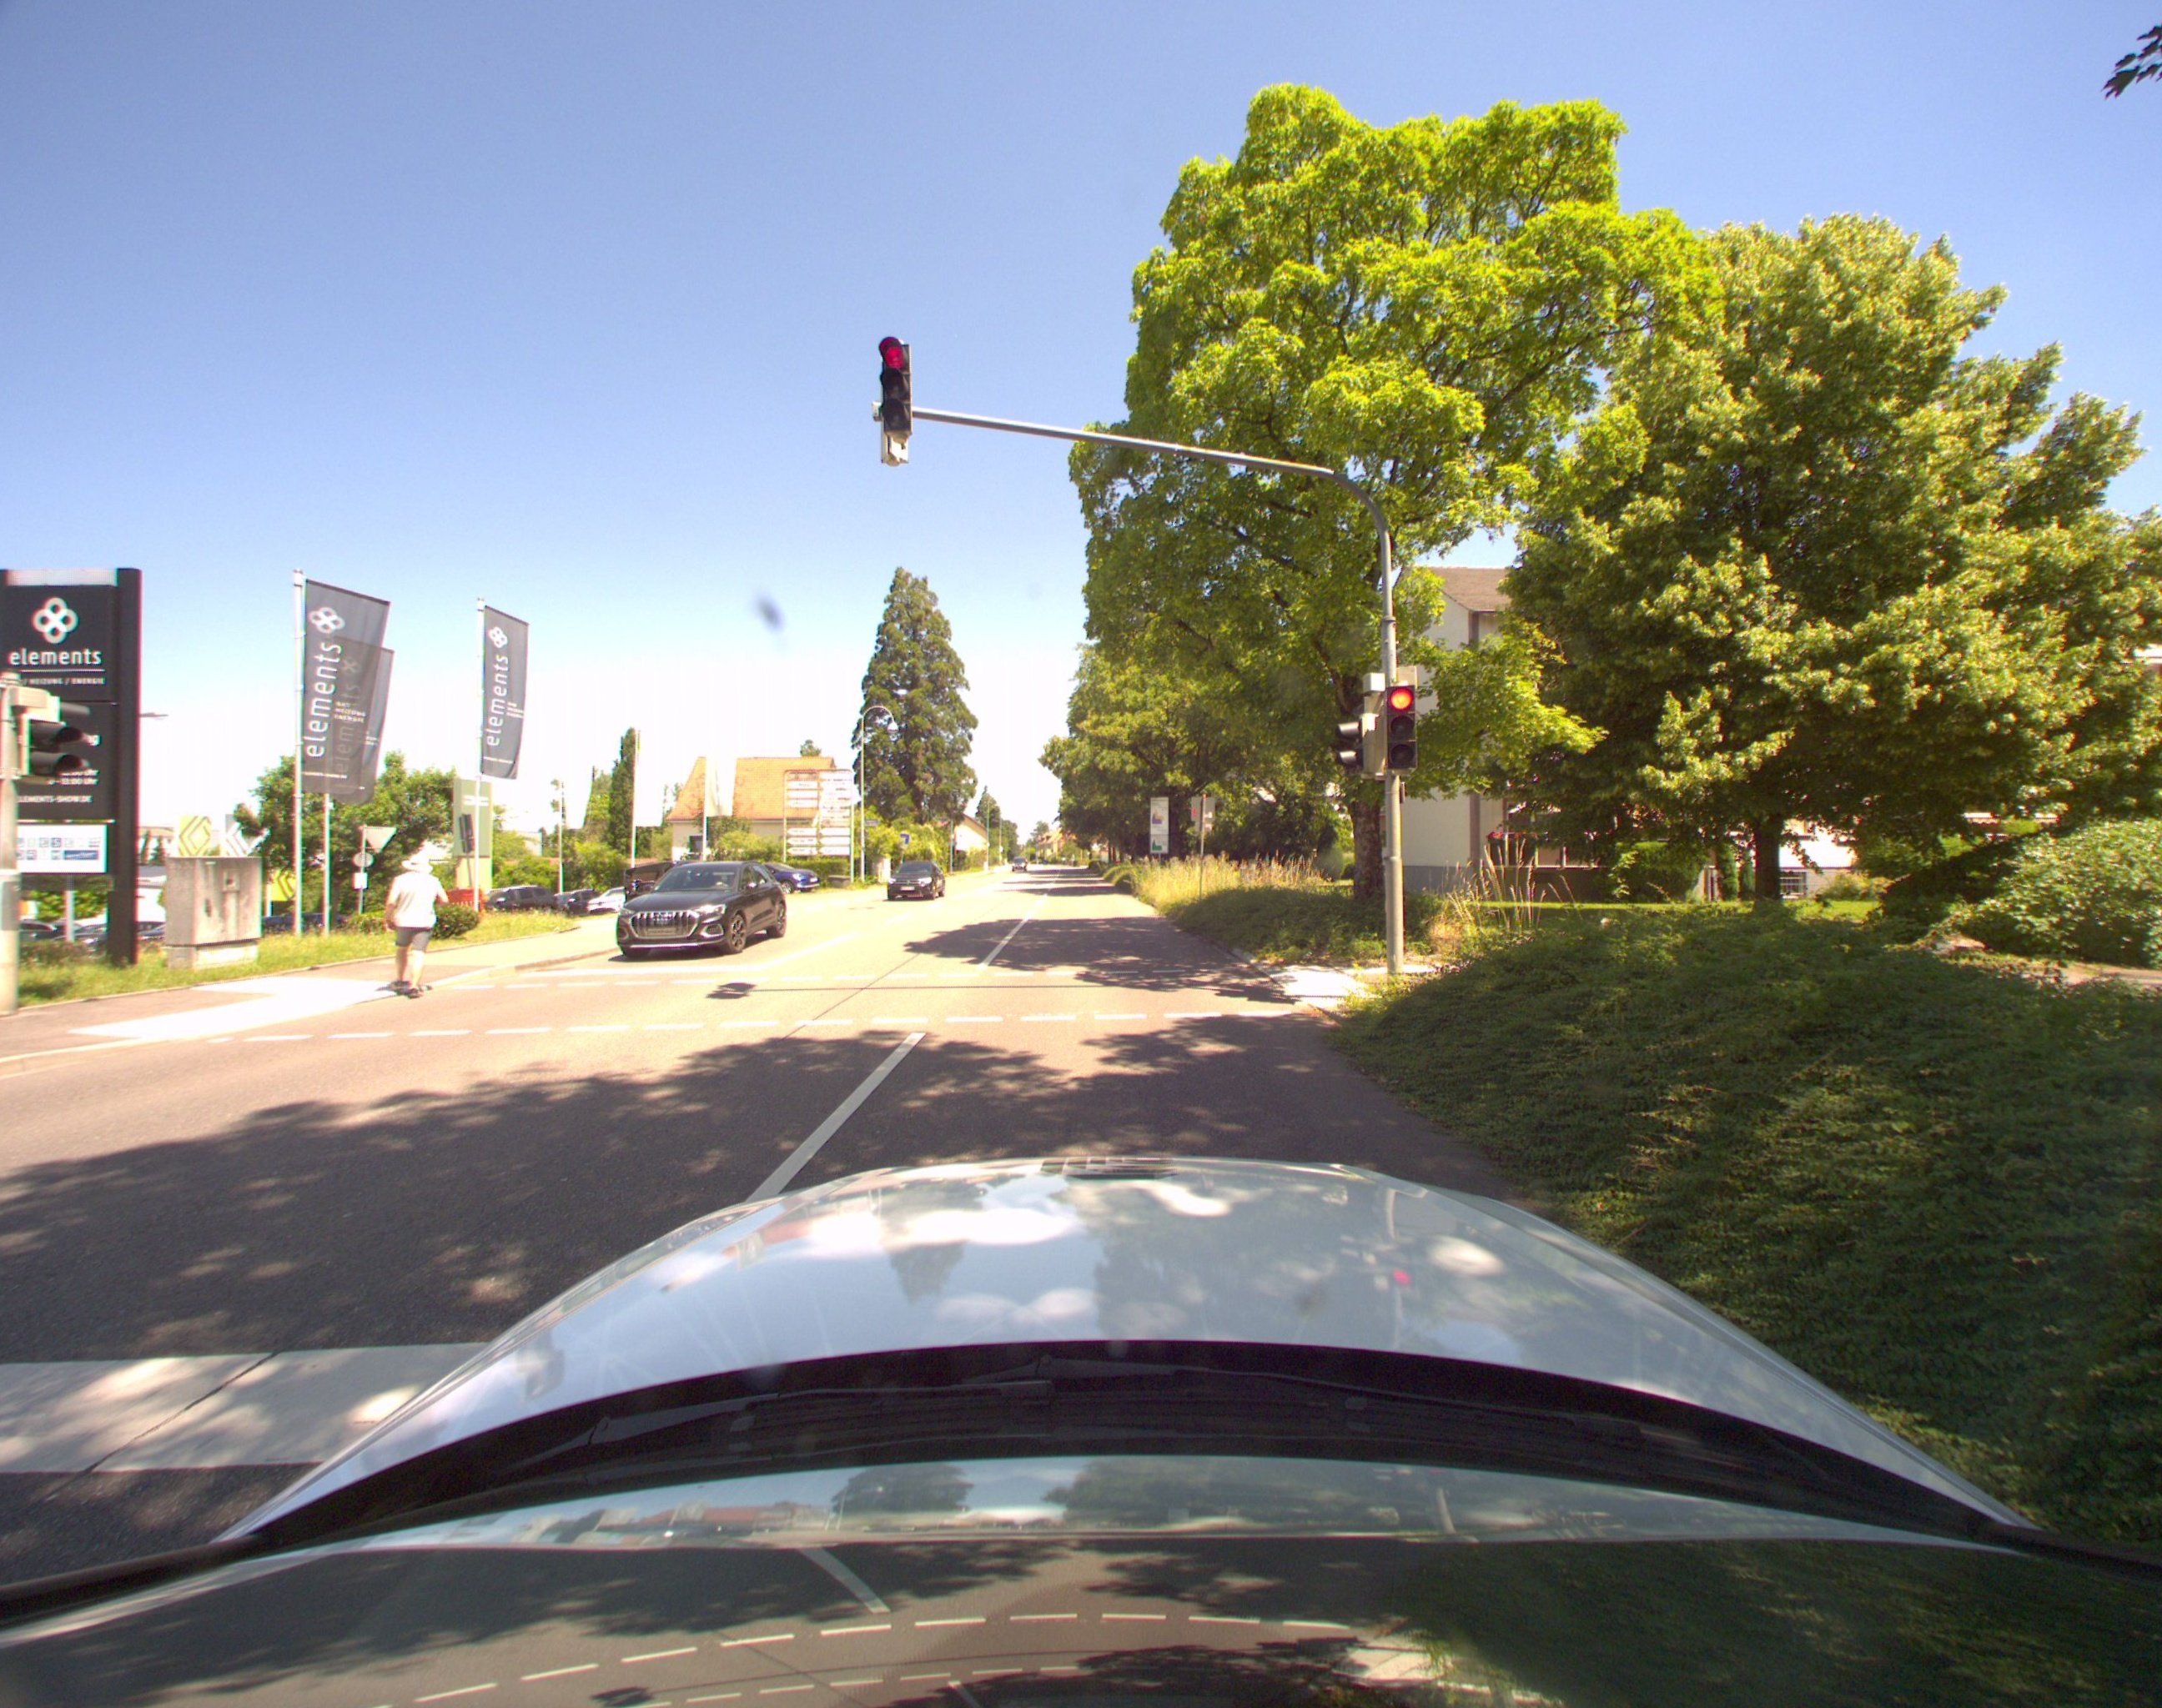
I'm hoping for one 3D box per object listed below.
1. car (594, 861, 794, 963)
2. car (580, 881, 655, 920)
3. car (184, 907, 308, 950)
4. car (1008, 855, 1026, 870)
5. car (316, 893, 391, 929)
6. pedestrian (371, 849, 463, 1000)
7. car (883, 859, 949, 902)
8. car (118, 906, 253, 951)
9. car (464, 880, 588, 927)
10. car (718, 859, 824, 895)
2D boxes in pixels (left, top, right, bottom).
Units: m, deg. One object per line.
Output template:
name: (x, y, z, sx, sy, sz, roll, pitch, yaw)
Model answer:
car: (-6.889, 0.931, 15.070, 1.923, 1.555, 4.295, -1, 0, -5)
car: (-23.339, 2.289, 41.168, 1.806, 1.722, 4.081, 0, 0, -6)
car: (-34.300, 3.015, 33.603, 1.648, 1.415, 3.853, -1, 0, -11)
car: (-7.996, 1.053, 102.804, 1.804, 1.762, 4.571, 0, 0, 1)
car: (-40.387, 3.114, 45.312, 1.816, 1.722, 4.059, 0, 0, -22)
pedestrian: (-8.130, 0.829, 9.979, 0.538, 1.761, 0.706, -1, -1, 28)
car: (-6.399, 0.987, 32.002, 1.864, 1.507, 4.049, -1, 0, -2)
car: (-37.031, 3.054, 33.840, 1.754, 1.486, 3.983, -1, 0, -12)
car: (-23.312, 2.030, 34.409, 1.795, 1.722, 4.106, -1, 0, 16)
car: (-13.922, 1.029, 36.661, 4.109, 1.504, 1.782, -1, 0, 10)
